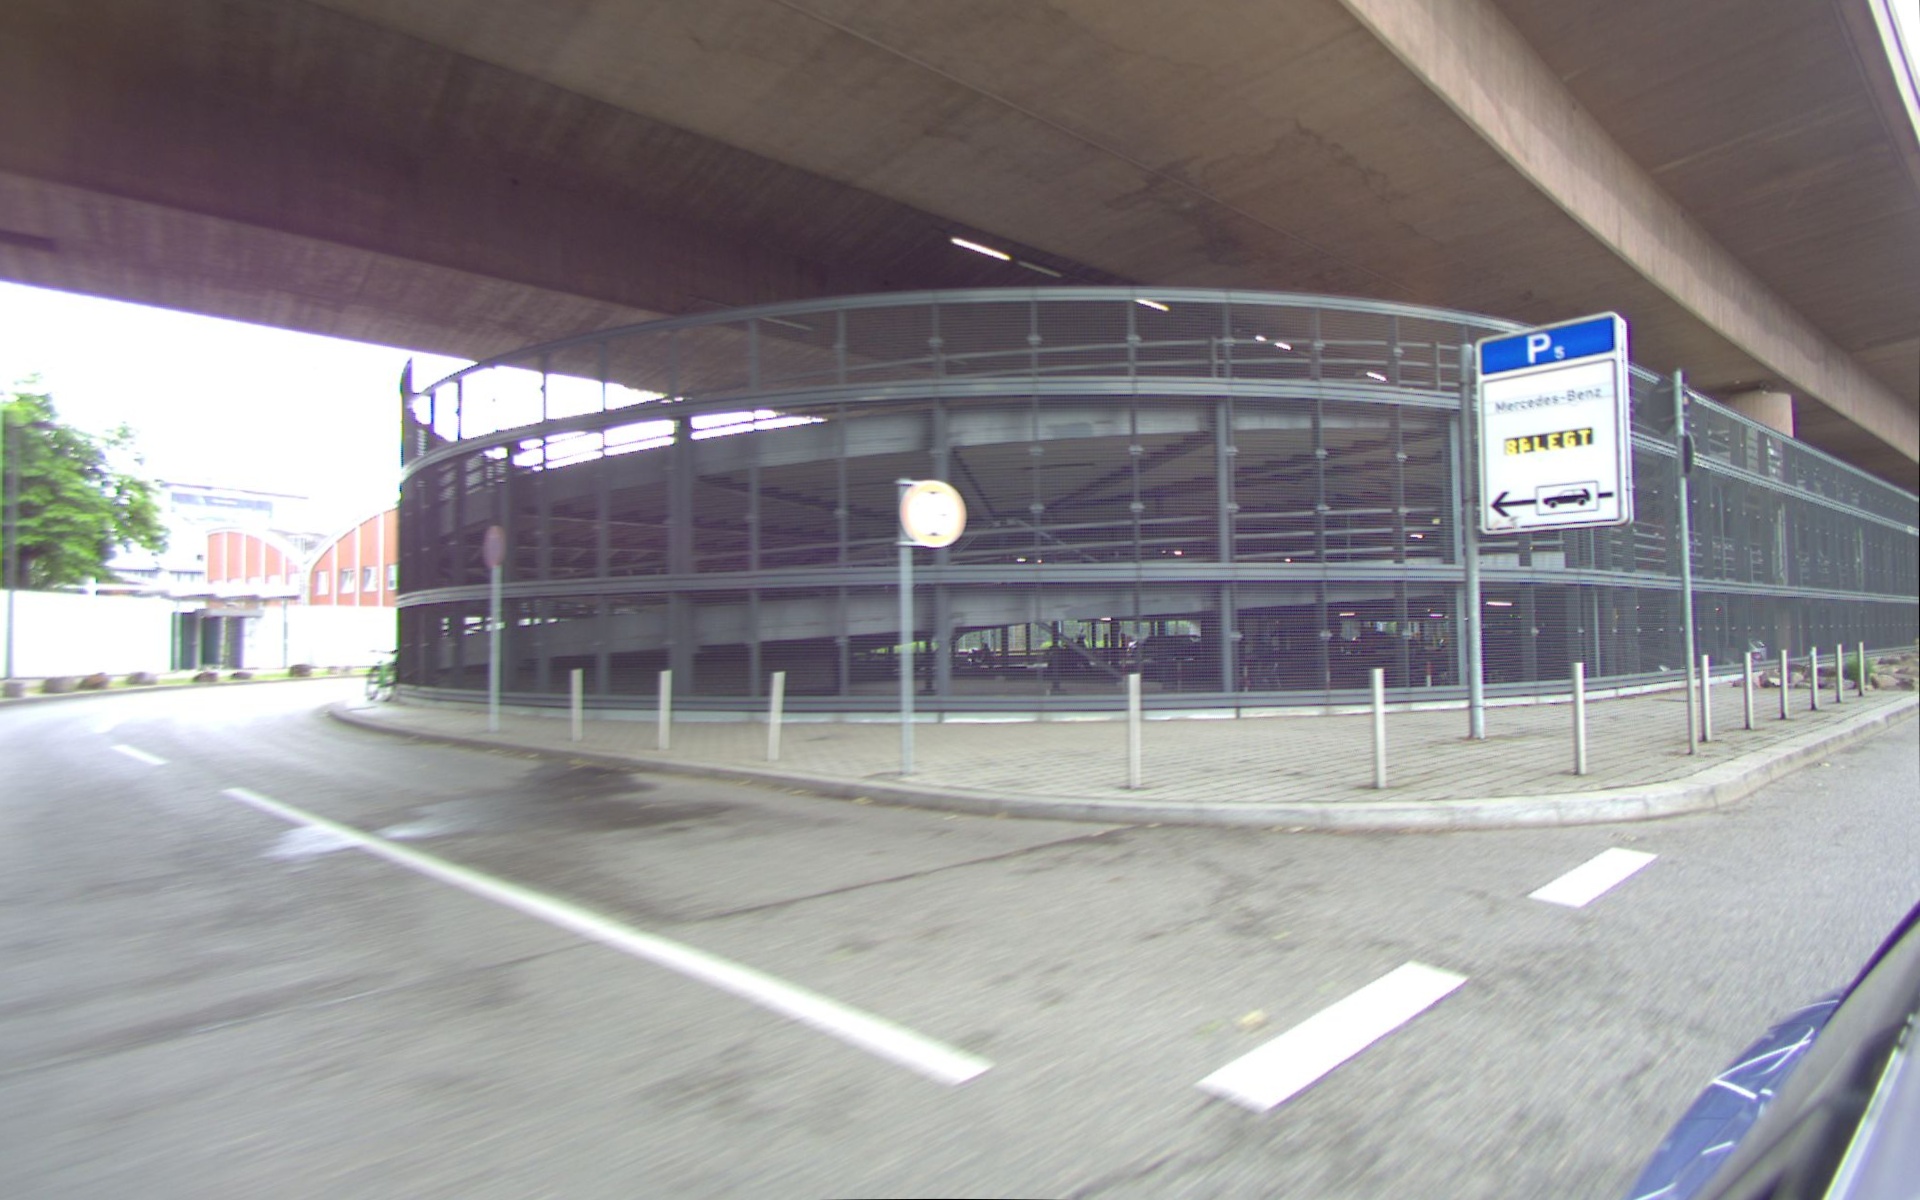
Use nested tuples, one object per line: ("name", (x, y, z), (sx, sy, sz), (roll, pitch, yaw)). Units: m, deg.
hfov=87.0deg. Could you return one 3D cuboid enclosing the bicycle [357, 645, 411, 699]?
("bicycle", (-12.305, 1.517, 21.603), (1.780, 1.093, 0.430), (-2, -3, 41))
